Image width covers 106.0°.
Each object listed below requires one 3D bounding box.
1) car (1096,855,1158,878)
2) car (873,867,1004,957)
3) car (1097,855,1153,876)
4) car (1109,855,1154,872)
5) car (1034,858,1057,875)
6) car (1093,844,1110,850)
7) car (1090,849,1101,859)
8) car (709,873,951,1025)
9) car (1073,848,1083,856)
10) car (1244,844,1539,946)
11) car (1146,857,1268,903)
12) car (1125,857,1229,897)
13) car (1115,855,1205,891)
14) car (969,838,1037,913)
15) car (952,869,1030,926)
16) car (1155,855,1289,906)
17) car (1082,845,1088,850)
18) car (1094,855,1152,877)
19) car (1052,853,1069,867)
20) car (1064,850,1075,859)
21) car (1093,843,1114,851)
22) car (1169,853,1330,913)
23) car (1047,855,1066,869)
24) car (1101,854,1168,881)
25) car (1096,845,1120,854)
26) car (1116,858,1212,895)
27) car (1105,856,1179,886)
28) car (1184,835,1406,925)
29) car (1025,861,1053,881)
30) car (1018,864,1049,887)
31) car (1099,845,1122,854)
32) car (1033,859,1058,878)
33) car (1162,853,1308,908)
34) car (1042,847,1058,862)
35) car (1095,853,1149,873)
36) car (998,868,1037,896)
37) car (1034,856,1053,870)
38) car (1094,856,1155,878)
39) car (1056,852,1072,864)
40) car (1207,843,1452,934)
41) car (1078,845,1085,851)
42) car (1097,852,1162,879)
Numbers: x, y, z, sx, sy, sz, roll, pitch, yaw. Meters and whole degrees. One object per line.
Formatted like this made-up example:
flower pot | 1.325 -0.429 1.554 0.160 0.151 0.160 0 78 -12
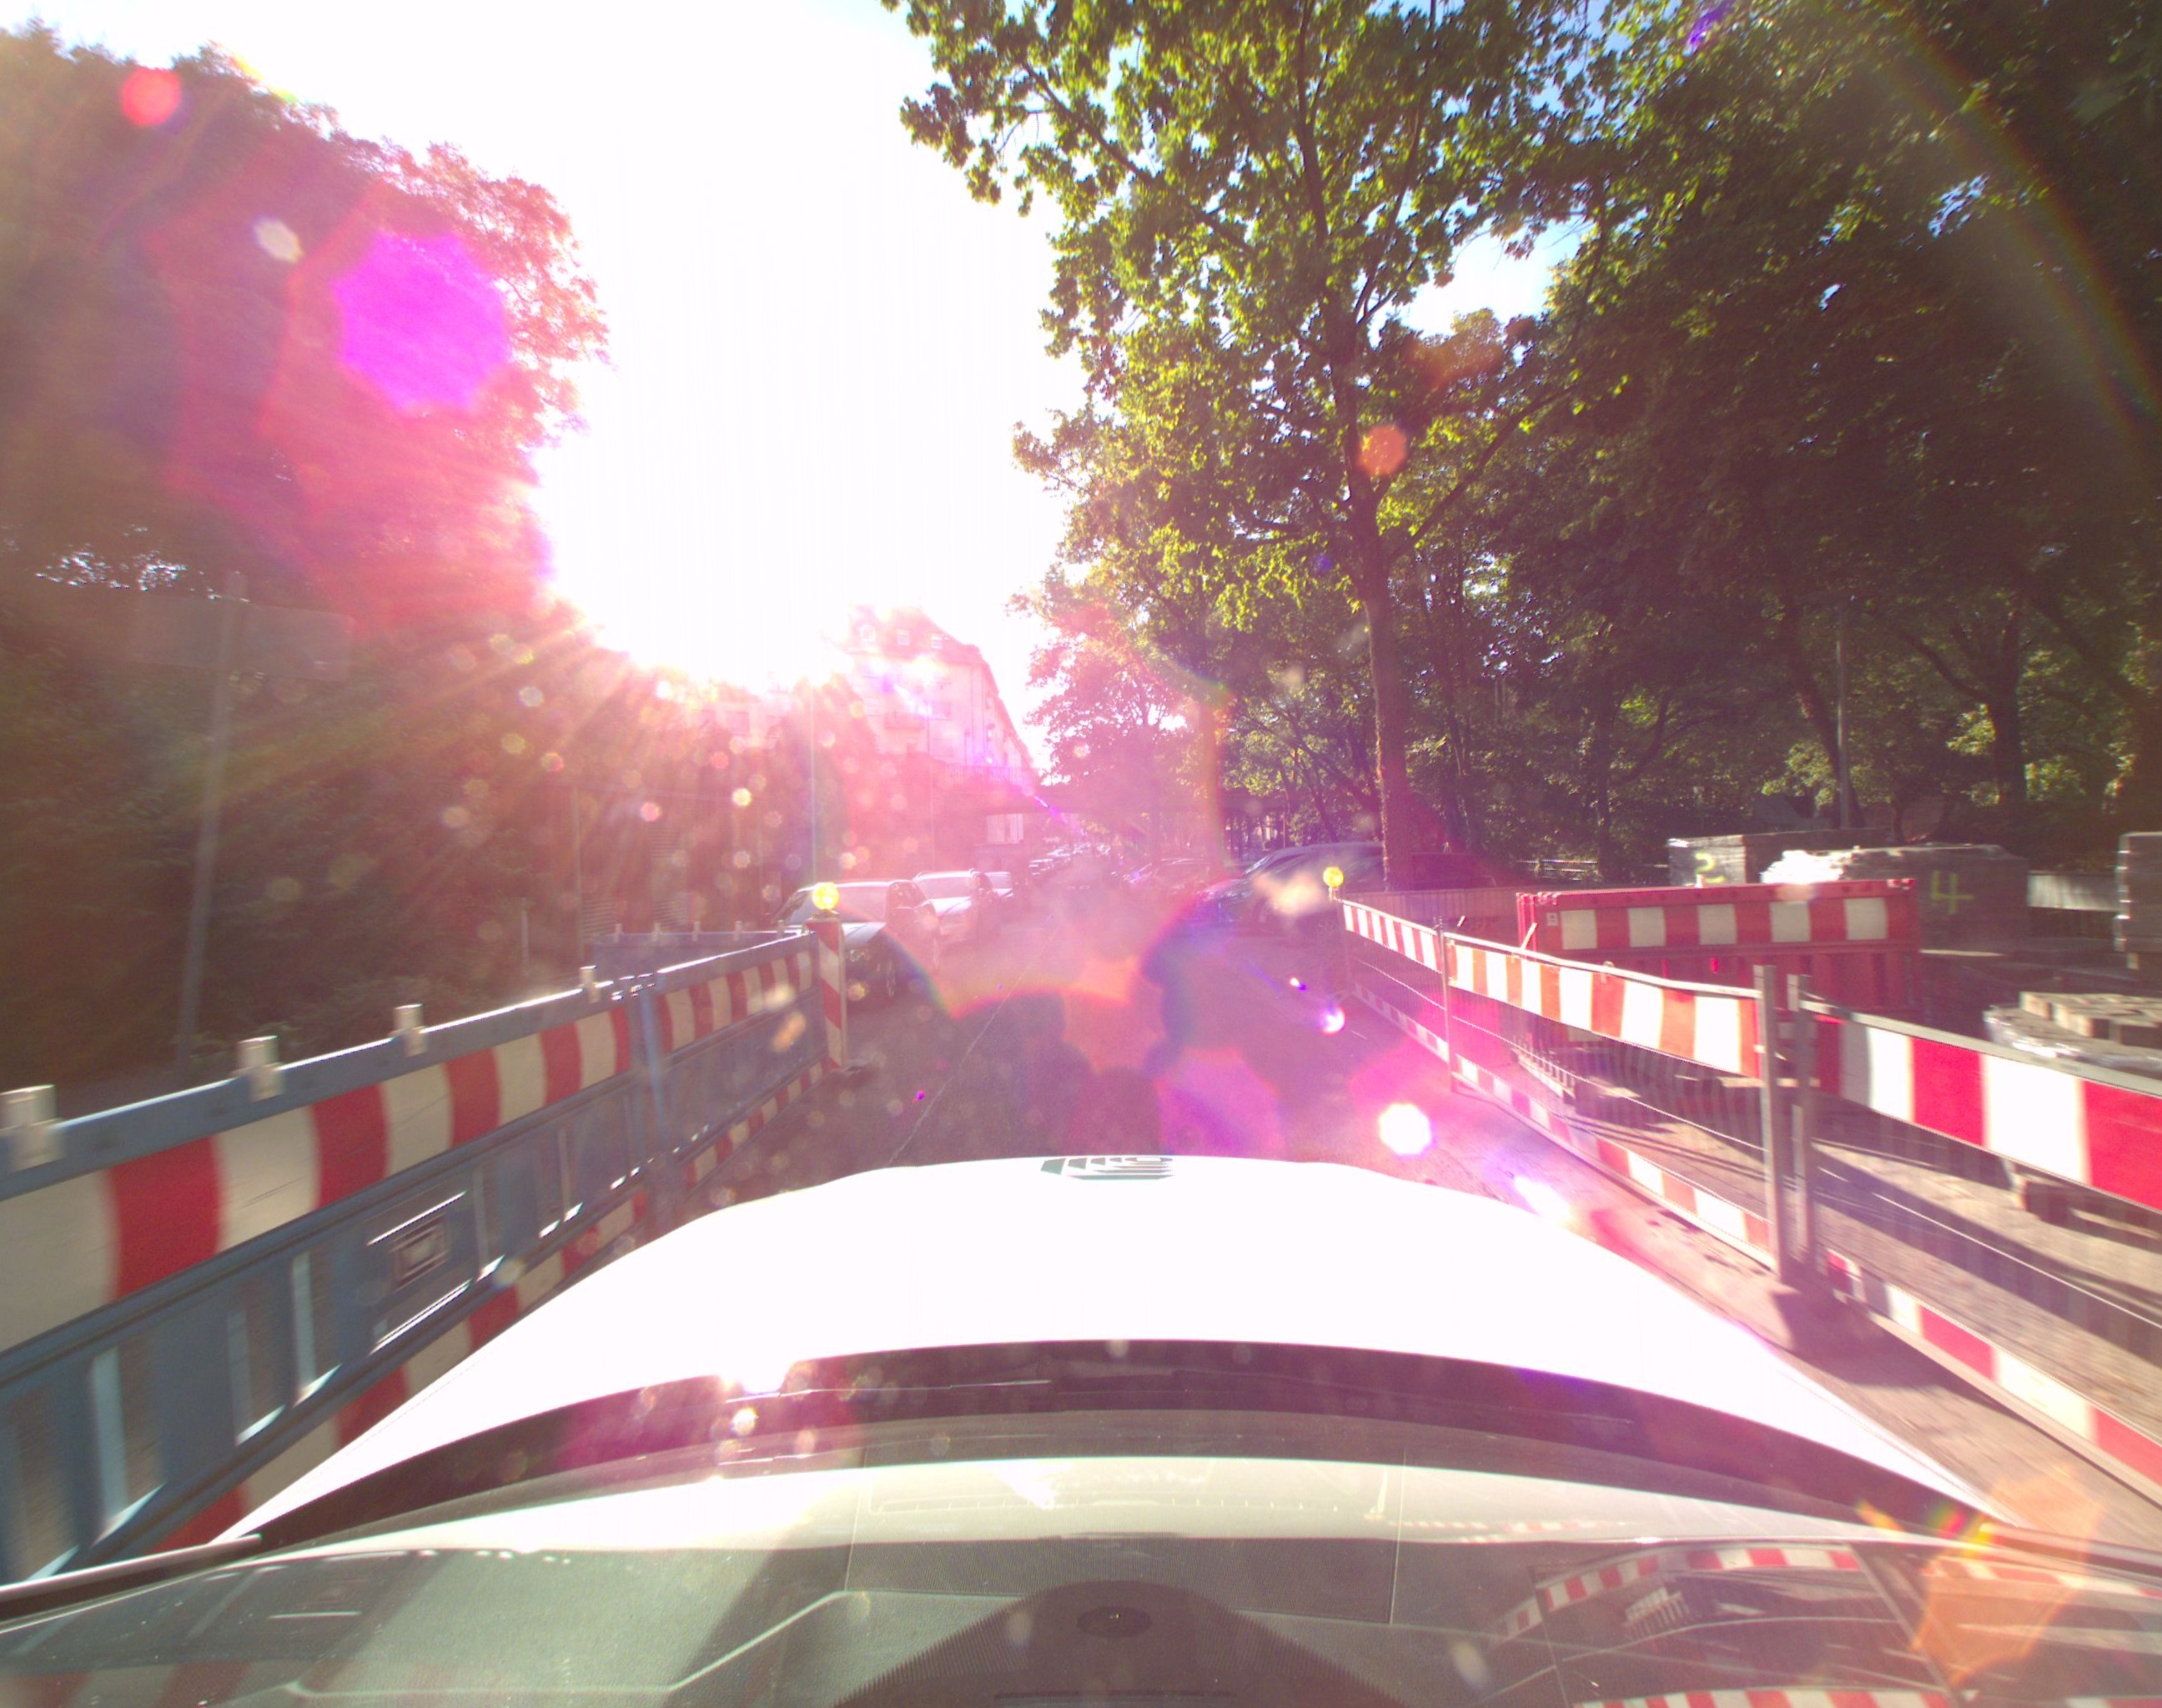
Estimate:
car | 3.305 0.902 59.011 4.375 1.609 1.779 0 -2 -2
car | -2.646 1.026 16.150 1.806 1.440 4.350 0 0 0
car | 3.483 0.938 65.522 4.375 1.609 1.779 0 -2 -2
car | 4.995 0.971 81.065 4.372 1.609 1.781 -1 -2 0
car | -3.200 1.142 74.016 1.806 1.397 3.974 -3 -1 0
car | 5.251 -1.820 208.131 4.372 1.609 1.781 -1 -2 0
car | 2.397 0.057 136.414 1.769 1.610 4.402 0 -2 1
car | -2.875 1.007 10.321 1.709 1.418 4.106 -3 -1 0
car | -0.627 -0.419 159.625 1.806 1.397 3.974 -3 -1 0
car | 5.232 0.684 14.134 4.377 1.606 1.914 0 -2 -3
car | 4.799 1.009 31.506 4.375 1.702 1.915 0 -2 -2
car | 4.235 1.027 36.426 4.375 1.702 1.915 0 -2 -2
car | 4.003 0.977 41.606 4.375 1.785 1.915 0 -2 -2
car | -2.758 0.757 29.961 2.041 2.497 5.694 0 -1 -1
car | -2.627 1.251 24.736 1.806 1.453 4.349 -3 -1 0
car | 4.888 0.913 28.743 4.375 1.702 1.915 0 -2 -2
car | 1.355 -1.986 260.541 1.806 1.397 4.611 -3 -1 0
car | 3.235 0.919 62.940 4.375 1.609 1.779 0 -2 -2
car | -2.282 0.685 91.792 1.806 1.397 3.974 -3 -1 0
car | -2.018 0.156 146.649 1.806 1.397 3.974 -3 -1 0
car | 4.751 -1.499 172.122 4.372 1.609 1.781 -1 -2 0
car | 4.934 0.851 24.228 4.375 1.702 1.915 0 -2 -2
car | -2.618 0.867 86.821 1.806 1.397 3.974 -3 -1 0
car | 3.549 0.926 54.827 4.375 1.785 1.915 0 -2 -2
car | 5.130 -0.921 154.491 4.372 1.609 1.781 -1 -2 0
car | 3.948 1.070 39.236 4.375 1.702 1.915 0 -2 -2
car | 3.743 1.043 50.516 4.375 1.785 1.915 0 -2 -2
car | 4.953 0.604 19.313 4.730 1.997 1.915 0 -2 -3
car | -3.155 1.261 61.871 1.806 1.397 3.974 -3 -1 0
car | -3.238 1.467 55.874 1.806 1.397 3.974 -3 -1 0
car | 5.688 -0.893 158.039 4.372 1.609 1.781 -1 -2 0
car | -2.977 1.202 68.381 1.806 1.397 3.974 -3 -1 0
car | 4.965 0.866 26.641 4.375 1.702 1.915 0 -2 -2
car | -3.823 0.054 101.354 1.806 1.665 3.974 -3 -1 0
car | 3.378 0.769 67.578 4.375 1.609 1.779 0 -2 -2
car | -3.555 1.553 46.266 1.806 1.397 3.974 -3 -1 0
car | -4.200 1.047 91.882 1.806 1.500 3.974 -3 -1 0
car | 3.223 0.985 61.002 4.375 1.609 1.779 0 -2 -2
car | -2.001 0.493 97.189 1.806 1.397 3.974 -3 -1 0
car | 4.906 0.679 16.515 4.375 1.702 1.915 0 -2 -2
car | 0.165 -1.619 230.606 1.806 1.397 4.611 -3 -1 0
car | 3.351 0.823 56.986 4.375 1.862 1.915 0 -2 -2
